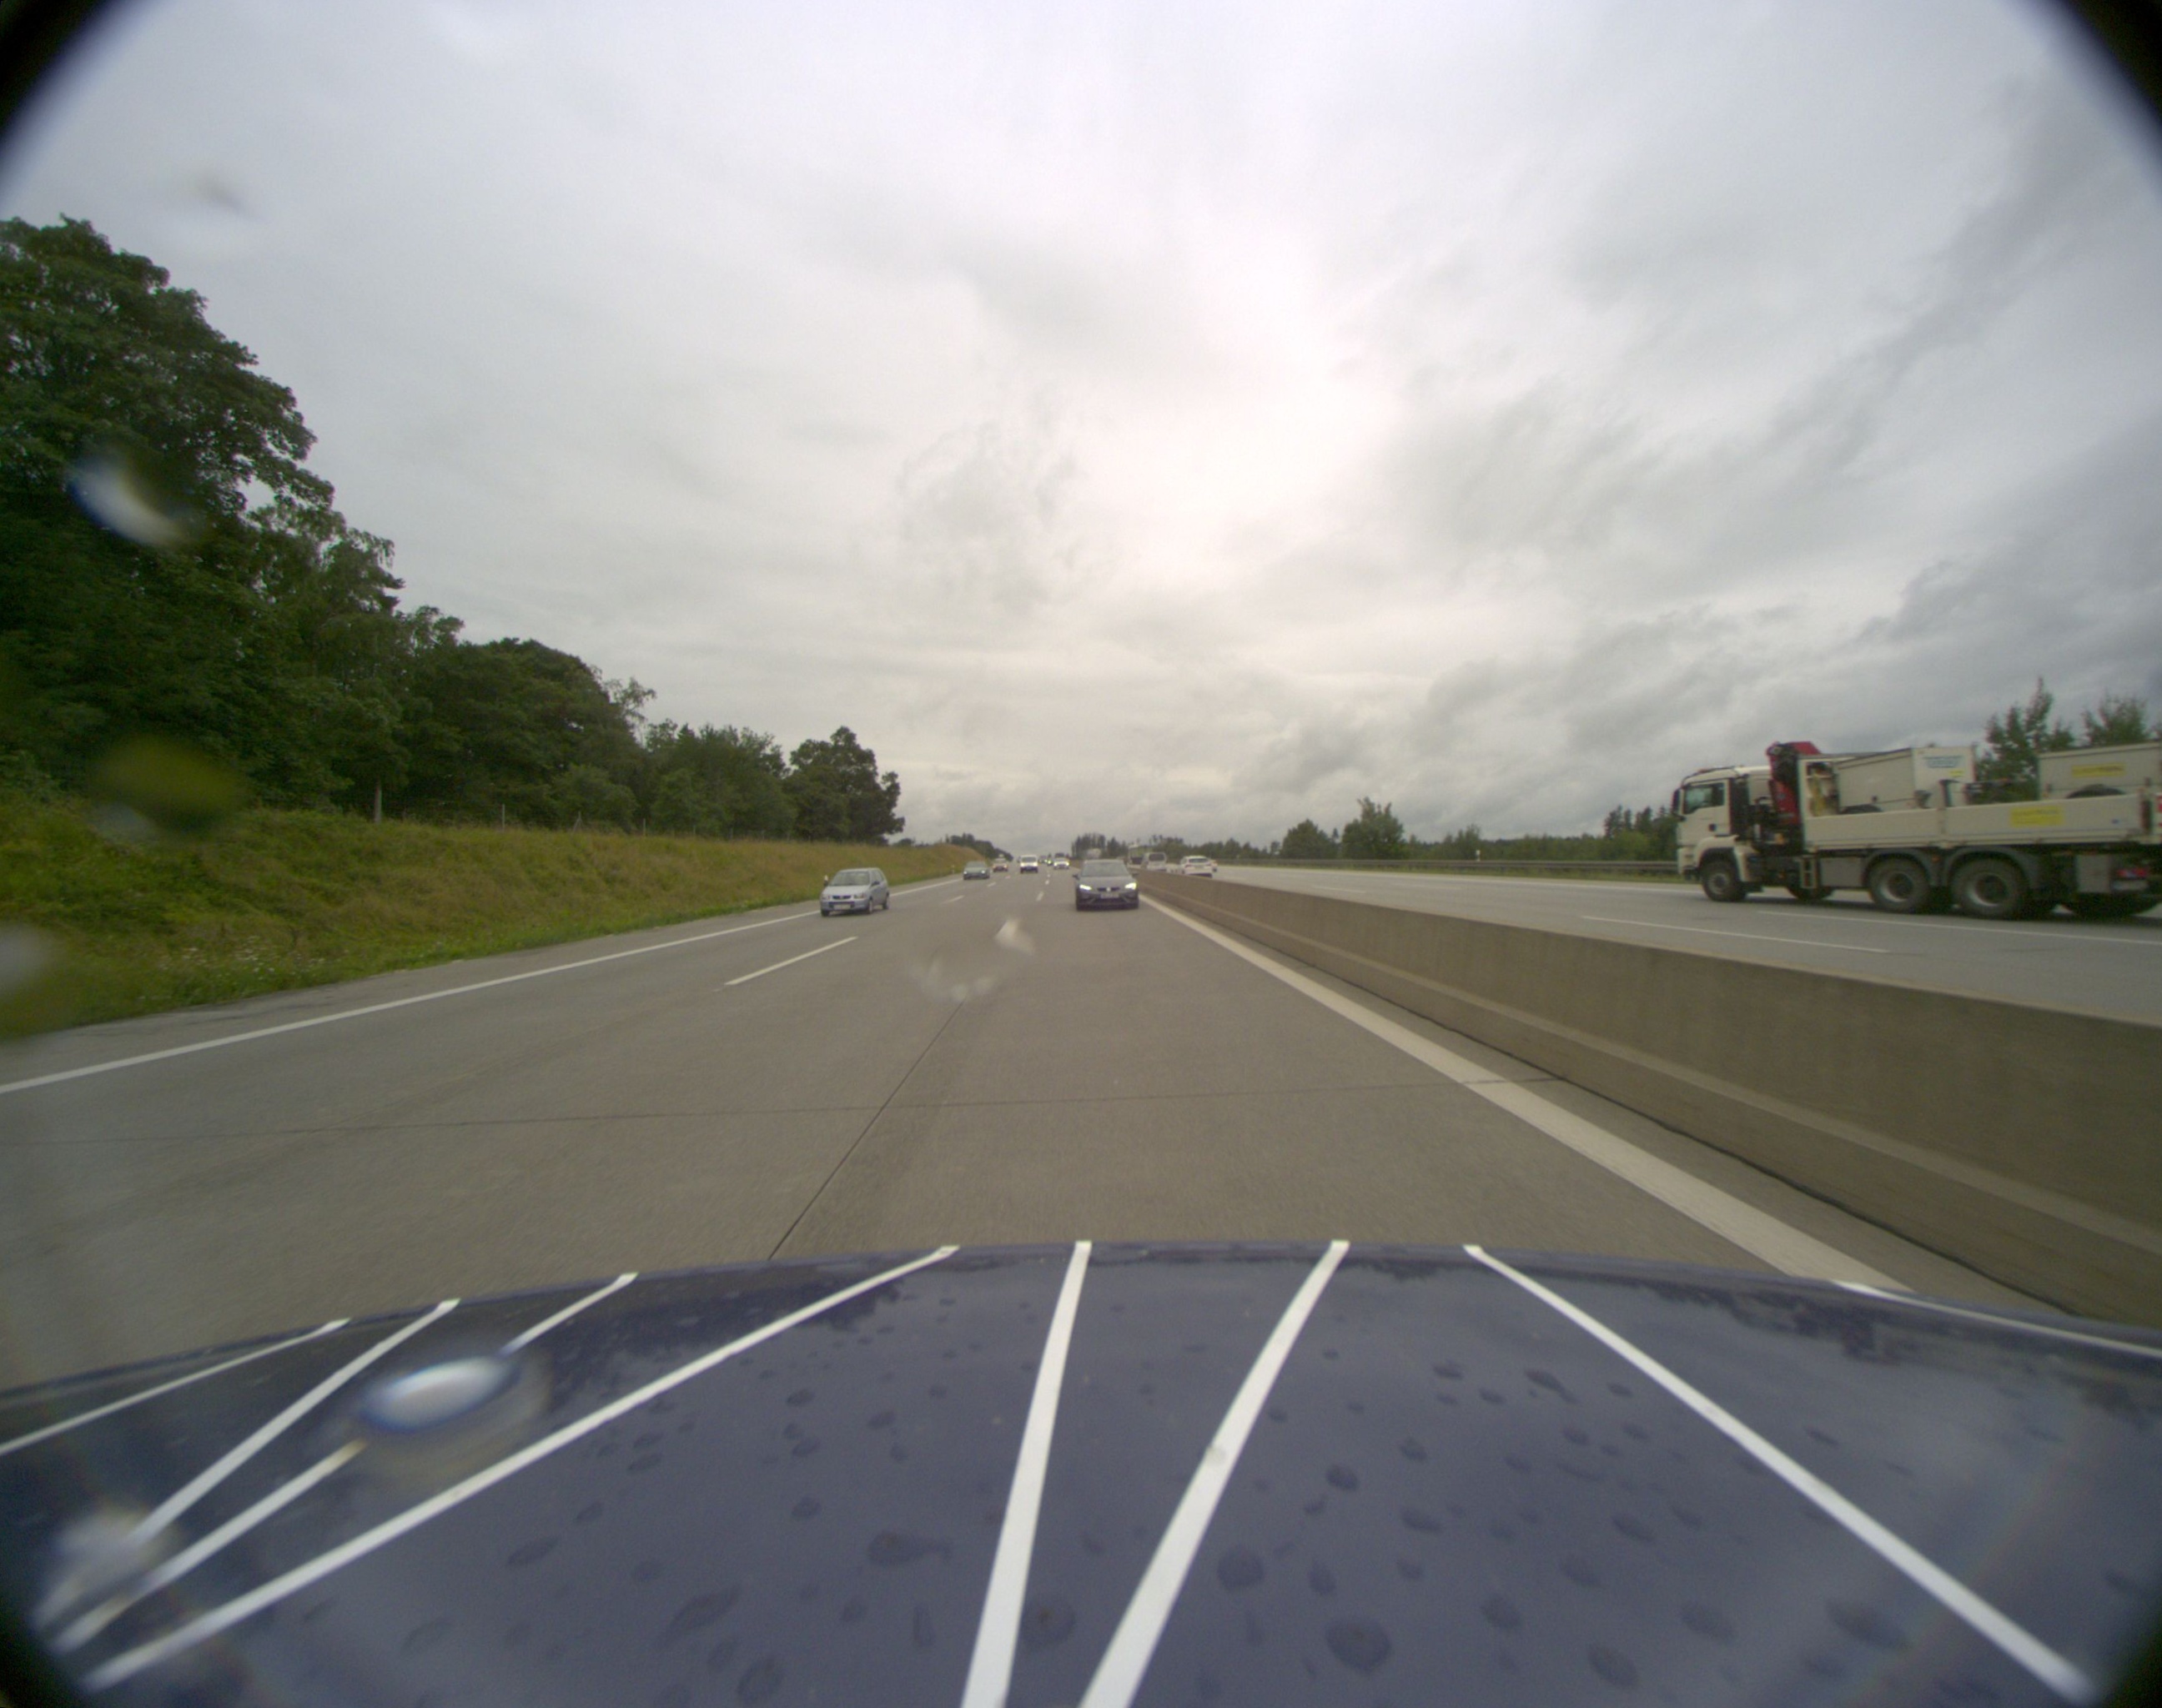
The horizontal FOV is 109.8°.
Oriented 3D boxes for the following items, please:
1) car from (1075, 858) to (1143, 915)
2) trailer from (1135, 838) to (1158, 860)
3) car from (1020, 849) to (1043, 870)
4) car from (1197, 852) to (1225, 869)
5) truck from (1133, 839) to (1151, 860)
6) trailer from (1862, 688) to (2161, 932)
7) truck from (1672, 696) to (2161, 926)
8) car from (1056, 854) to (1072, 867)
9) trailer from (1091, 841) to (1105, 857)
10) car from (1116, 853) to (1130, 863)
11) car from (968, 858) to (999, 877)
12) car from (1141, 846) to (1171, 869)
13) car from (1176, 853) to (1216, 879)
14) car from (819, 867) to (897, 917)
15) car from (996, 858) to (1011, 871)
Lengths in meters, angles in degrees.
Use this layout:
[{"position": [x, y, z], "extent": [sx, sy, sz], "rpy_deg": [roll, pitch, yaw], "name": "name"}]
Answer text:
[{"position": [0.816, 0.884, 22.742], "extent": [1.789, 1.472, 4.571], "rpy_deg": [-1, 0, 2], "name": "car"}, {"position": [11.744, -0.918, 137.581], "extent": [2.757, 3.777, 9.313], "rpy_deg": [-2, 0, -3], "name": "trailer"}, {"position": [-5.258, 0.640, 81.300], "extent": [2.043, 2.111, 6.069], "rpy_deg": [1, -1, 0], "name": "car"}, {"position": [11.526, 0.576, 67.643], "extent": [1.741, 1.359, 4.098], "rpy_deg": [-5, -1, 0], "name": "car"}, {"position": [11.475, -0.933, 143.512], "extent": [2.758, 3.780, 5.528], "rpy_deg": [-2, 1, -2], "name": "truck"}, {"position": [16.931, -0.636, 8.266], "extent": [2.593, 3.522, 13.720], "rpy_deg": [-1, 1, -1], "name": "trailer"}, {"position": [16.800, -0.690, 15.997], "extent": [2.593, 3.631, 7.659], "rpy_deg": [-2, 0, -1], "name": "truck"}, {"position": [-2.183, 0.890, 98.403], "extent": [1.999, 1.632, 5.042], "rpy_deg": [1, -1, -1], "name": "car"}, {"position": [4.720, -1.349, 215.627], "extent": [2.766, 3.974, 12.286], "rpy_deg": [-2, -1, -4], "name": "trailer"}, {"position": [7.319, 0.725, 133.133], "extent": [1.999, 1.580, 4.770], "rpy_deg": [-2, 0, -2], "name": "car"}, {"position": [-8.050, 1.093, 63.128], "extent": [2.019, 1.437, 4.745], "rpy_deg": [-3, -1, -1], "name": "car"}, {"position": [6.917, 0.399, 70.586], "extent": [1.999, 2.001, 5.525], "rpy_deg": [-1, -1, -2], "name": "car"}, {"position": [7.150, 0.737, 47.559], "extent": [1.719, 1.412, 4.214], "rpy_deg": [-5, -1, 0], "name": "car"}, {"position": [-7.133, 1.166, 24.579], "extent": [1.489, 1.462, 3.504], "rpy_deg": [-2, -1, -1], "name": "car"}, {"position": [-9.771, 1.329, 95.308], "extent": [1.791, 1.595, 4.569], "rpy_deg": [1, -1, -6], "name": "car"}]
